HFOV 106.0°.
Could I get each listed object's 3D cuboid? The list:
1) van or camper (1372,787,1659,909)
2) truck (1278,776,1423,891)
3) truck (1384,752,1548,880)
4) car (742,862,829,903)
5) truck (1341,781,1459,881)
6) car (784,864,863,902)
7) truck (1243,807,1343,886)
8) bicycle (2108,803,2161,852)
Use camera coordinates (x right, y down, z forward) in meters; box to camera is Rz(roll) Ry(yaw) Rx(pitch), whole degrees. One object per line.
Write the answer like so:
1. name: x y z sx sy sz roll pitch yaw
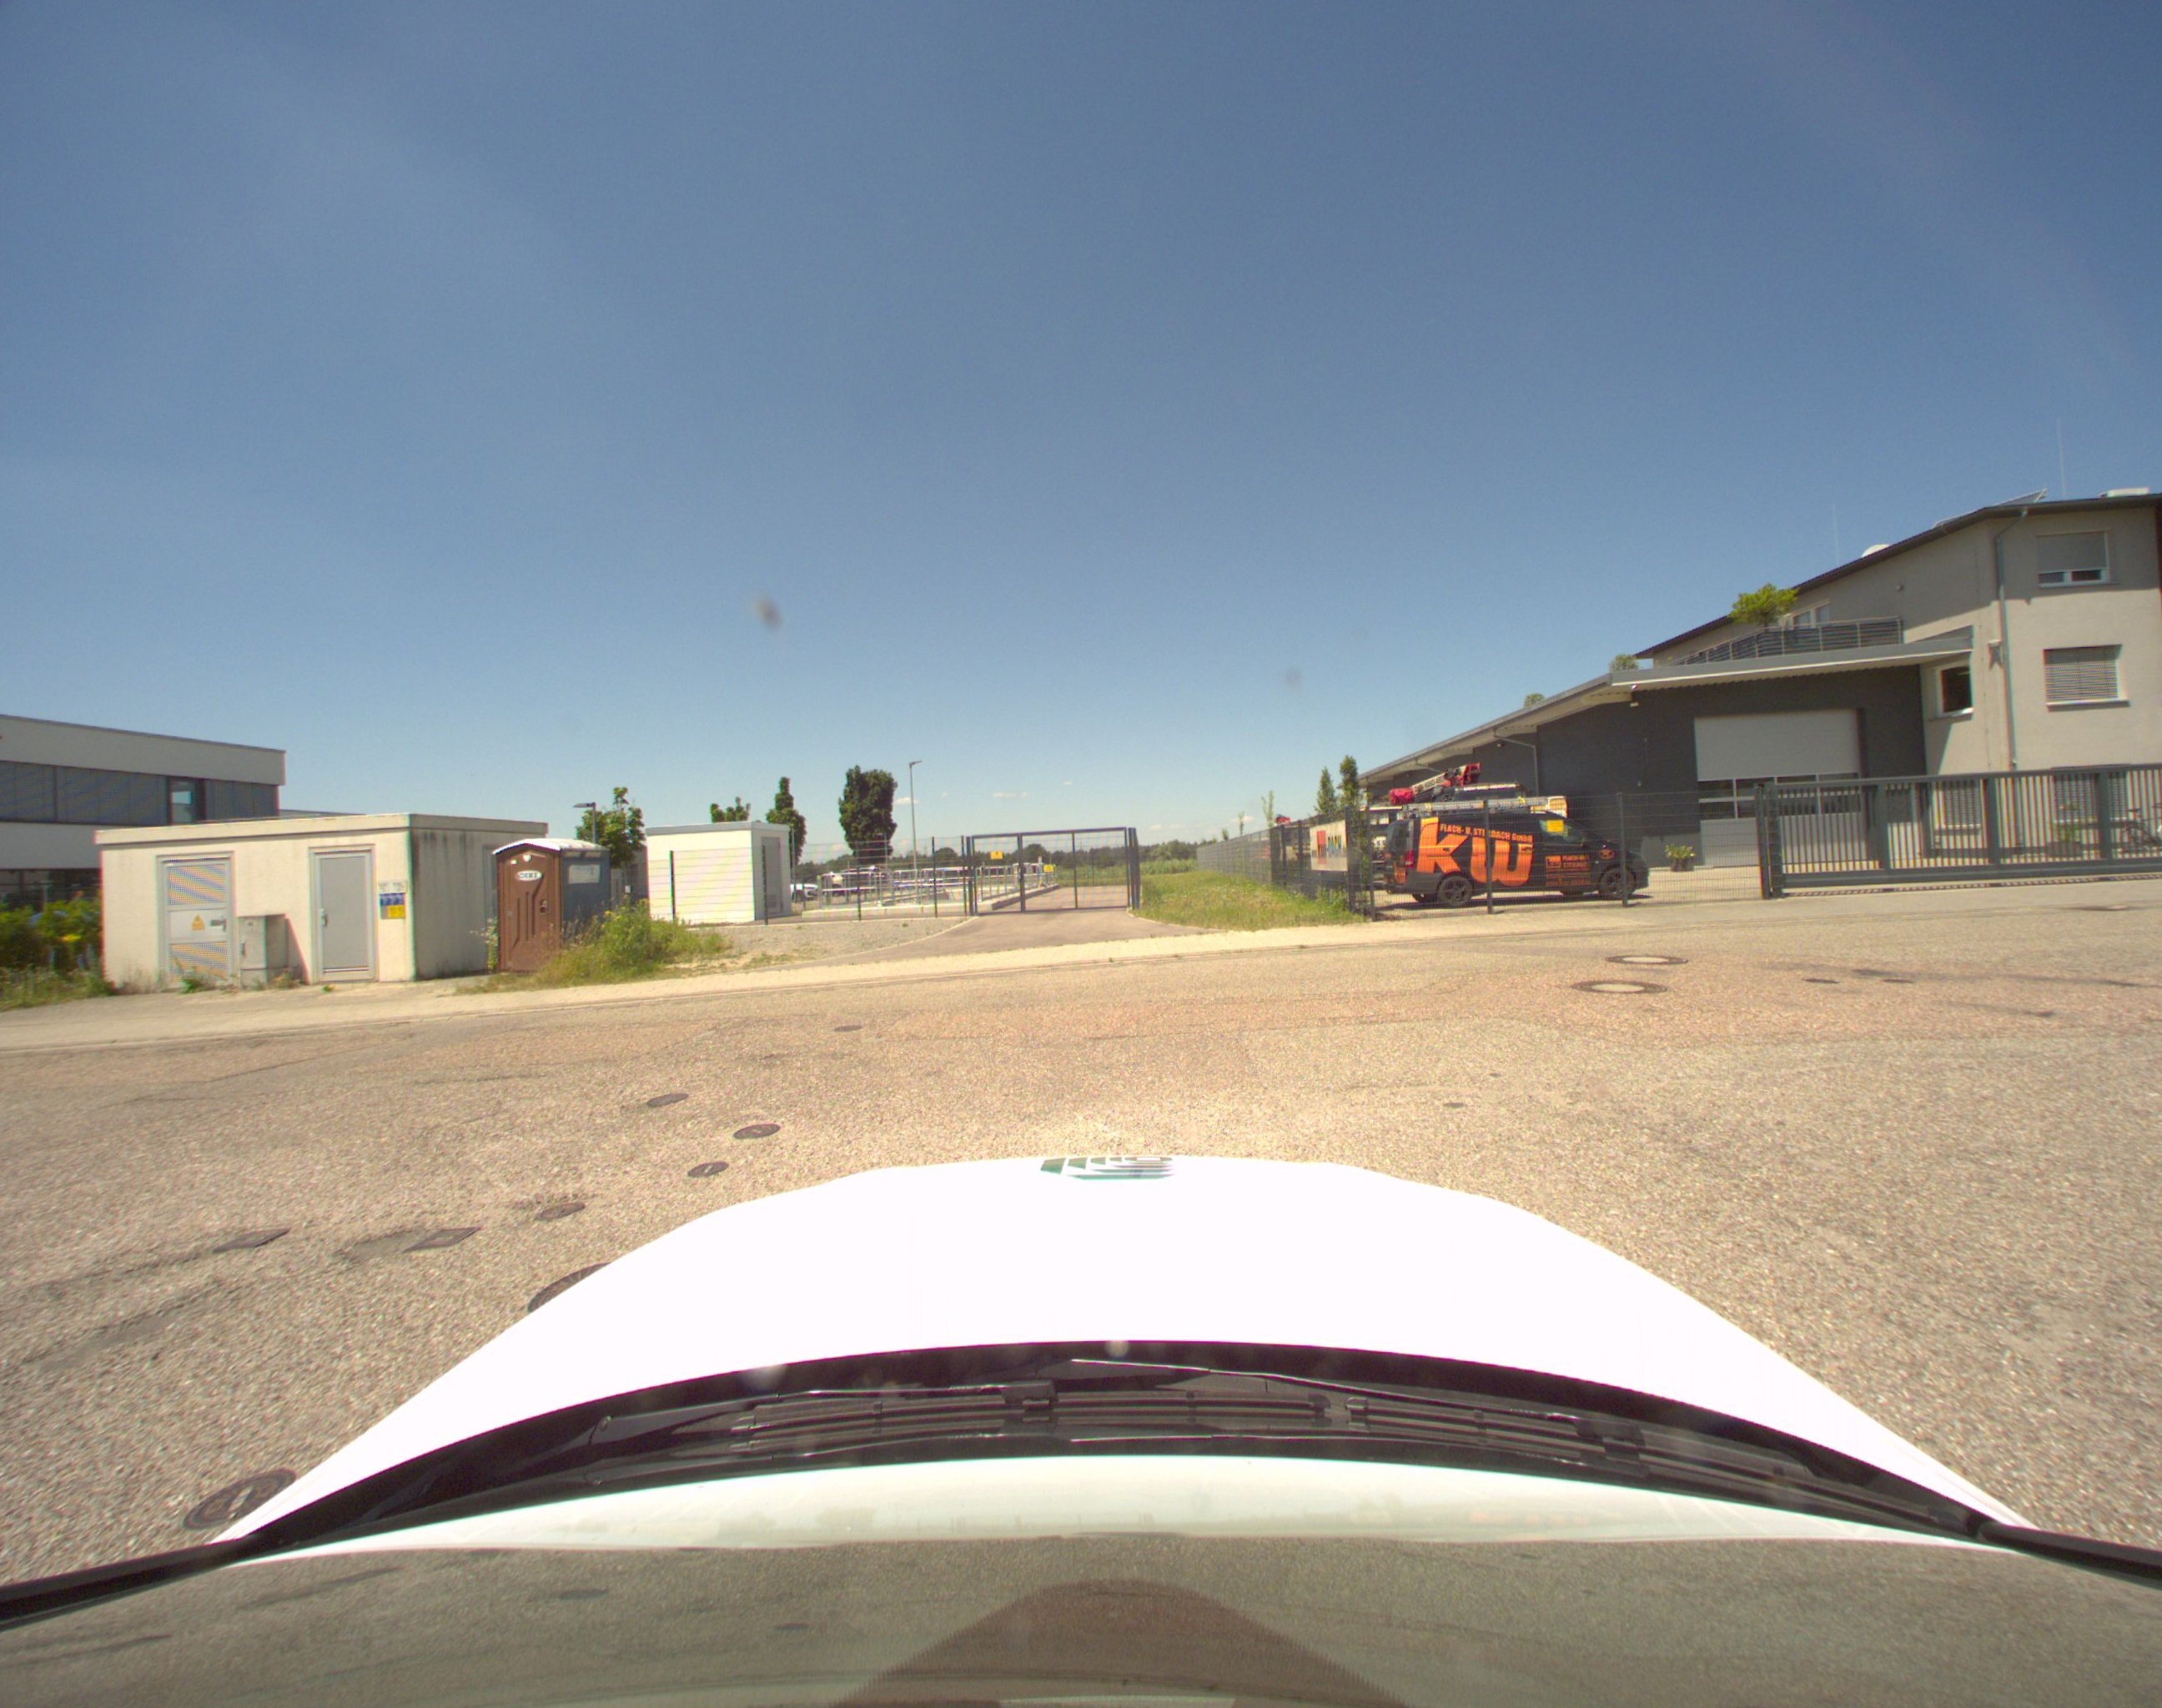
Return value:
1. van or camper: 9.004 -0.115 17.260 4.913 2.163 2.003 -3 0 4
2. truck: 8.324 -0.547 26.145 2.714 3.062 6.944 -3 -1 5
3. truck: 13.487 -1.178 29.312 2.908 3.929 6.944 -3 -1 5
4. car: -16.320 1.550 45.122 3.968 2.013 2.003 -3 -1 5
5. truck: 14.134 -0.917 36.787 2.908 3.929 6.944 -3 -1 5
6. car: -15.485 1.742 49.076 3.968 2.013 2.003 -3 -1 5
7. truck: 8.988 -0.283 35.354 2.908 2.938 6.944 -3 -1 5
8. bicycle: 27.256 -0.692 20.773 1.801 1.185 0.443 -3 -1 -10
